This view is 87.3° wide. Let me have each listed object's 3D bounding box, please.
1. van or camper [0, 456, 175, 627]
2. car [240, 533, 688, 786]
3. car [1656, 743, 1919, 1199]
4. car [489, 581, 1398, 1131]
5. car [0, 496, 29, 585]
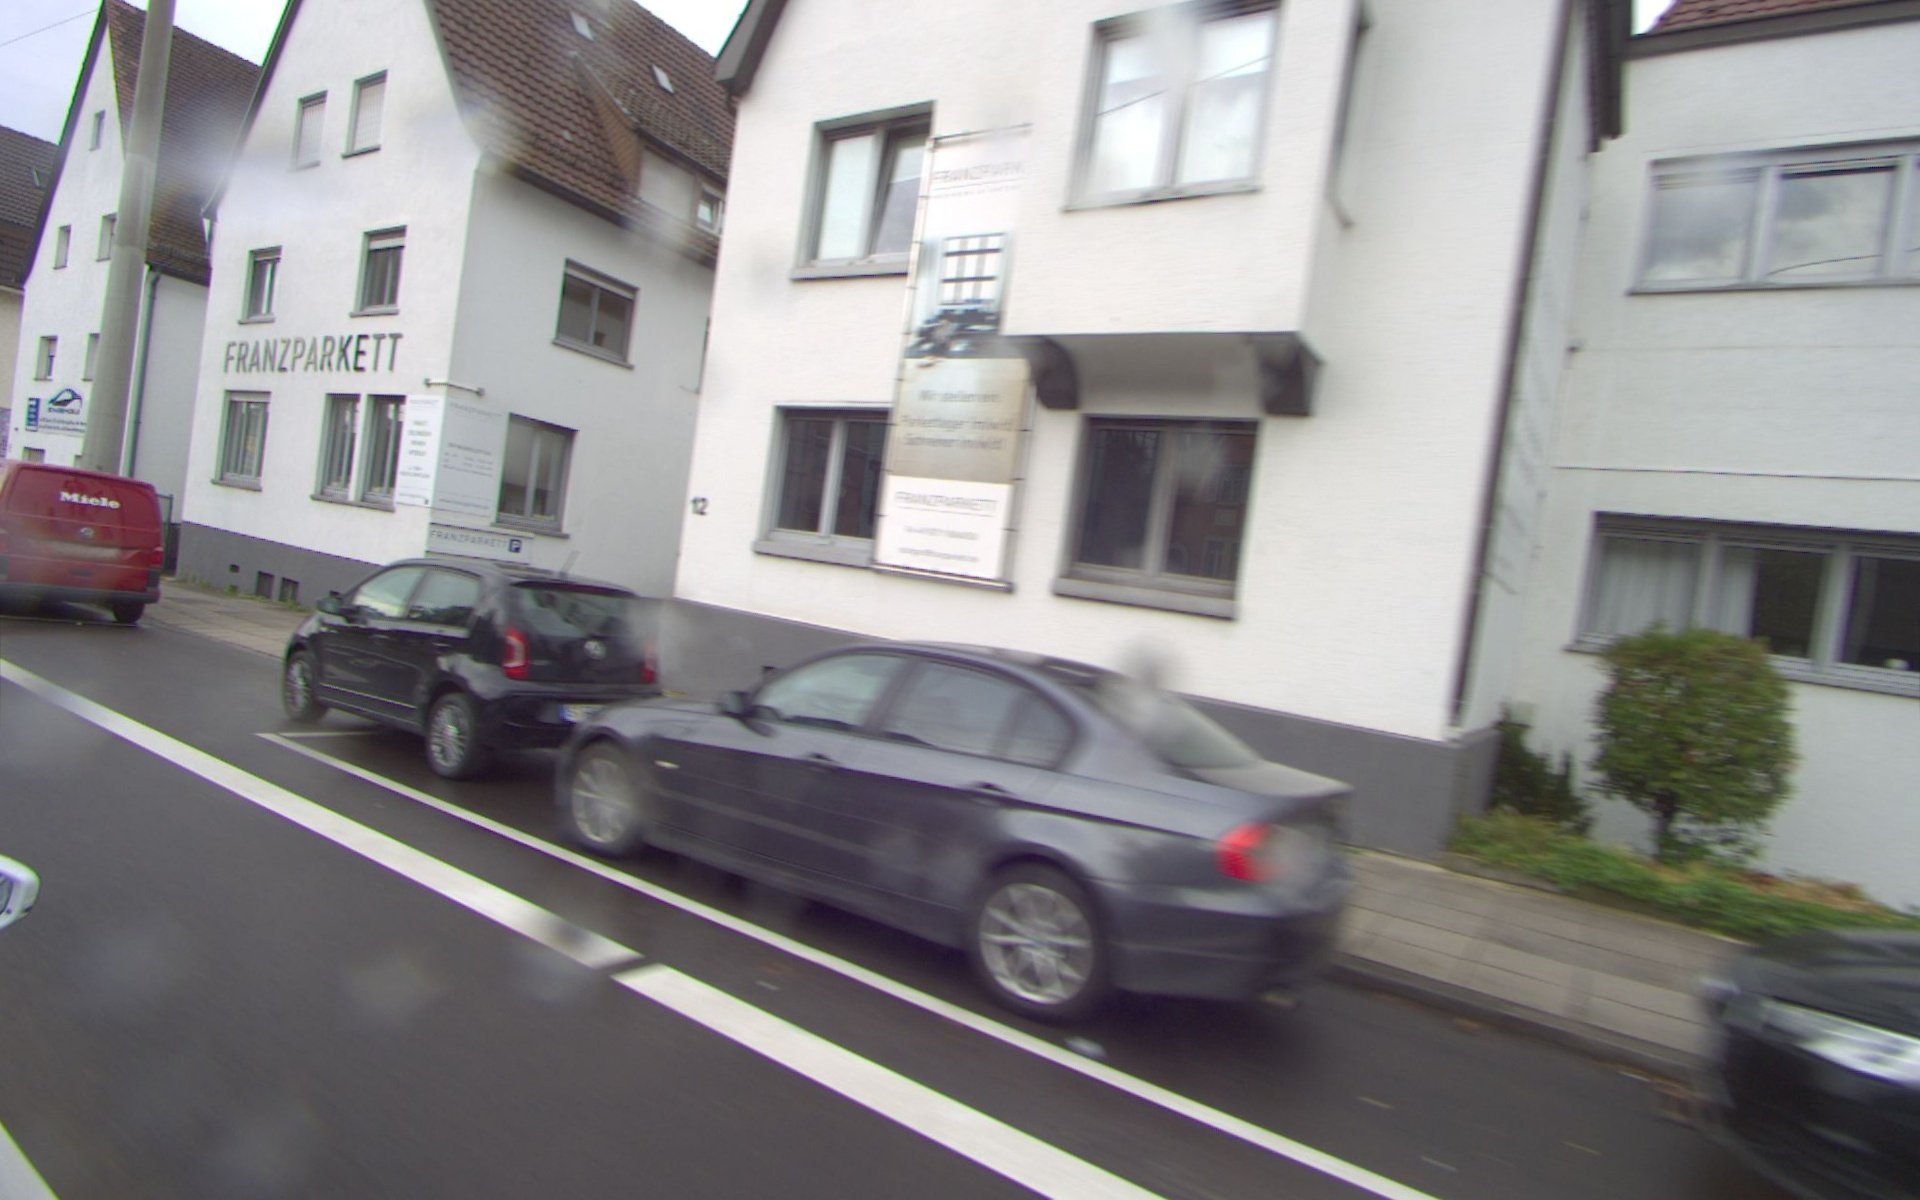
[{"bbox_3d":[-13.087,-0.927,13.942,4.913,1.944,1.853,7,0,33],"label":"van or camper"},{"bbox_3d":[-4.109,0.374,8.152,3.661,1.469,1.579,6,0,35],"label":"car"},{"bbox_3d":[4.386,1.452,2.233,4.492,1.439,1.679,7,-1,34],"label":"car"},{"bbox_3d":[-0.331,0.899,5.297,4.492,1.429,1.714,7,-1,34],"label":"car"},{"bbox_3d":[-17.609,-1.251,16.949,4.596,1.392,1.798,7,-1,35],"label":"car"}]
